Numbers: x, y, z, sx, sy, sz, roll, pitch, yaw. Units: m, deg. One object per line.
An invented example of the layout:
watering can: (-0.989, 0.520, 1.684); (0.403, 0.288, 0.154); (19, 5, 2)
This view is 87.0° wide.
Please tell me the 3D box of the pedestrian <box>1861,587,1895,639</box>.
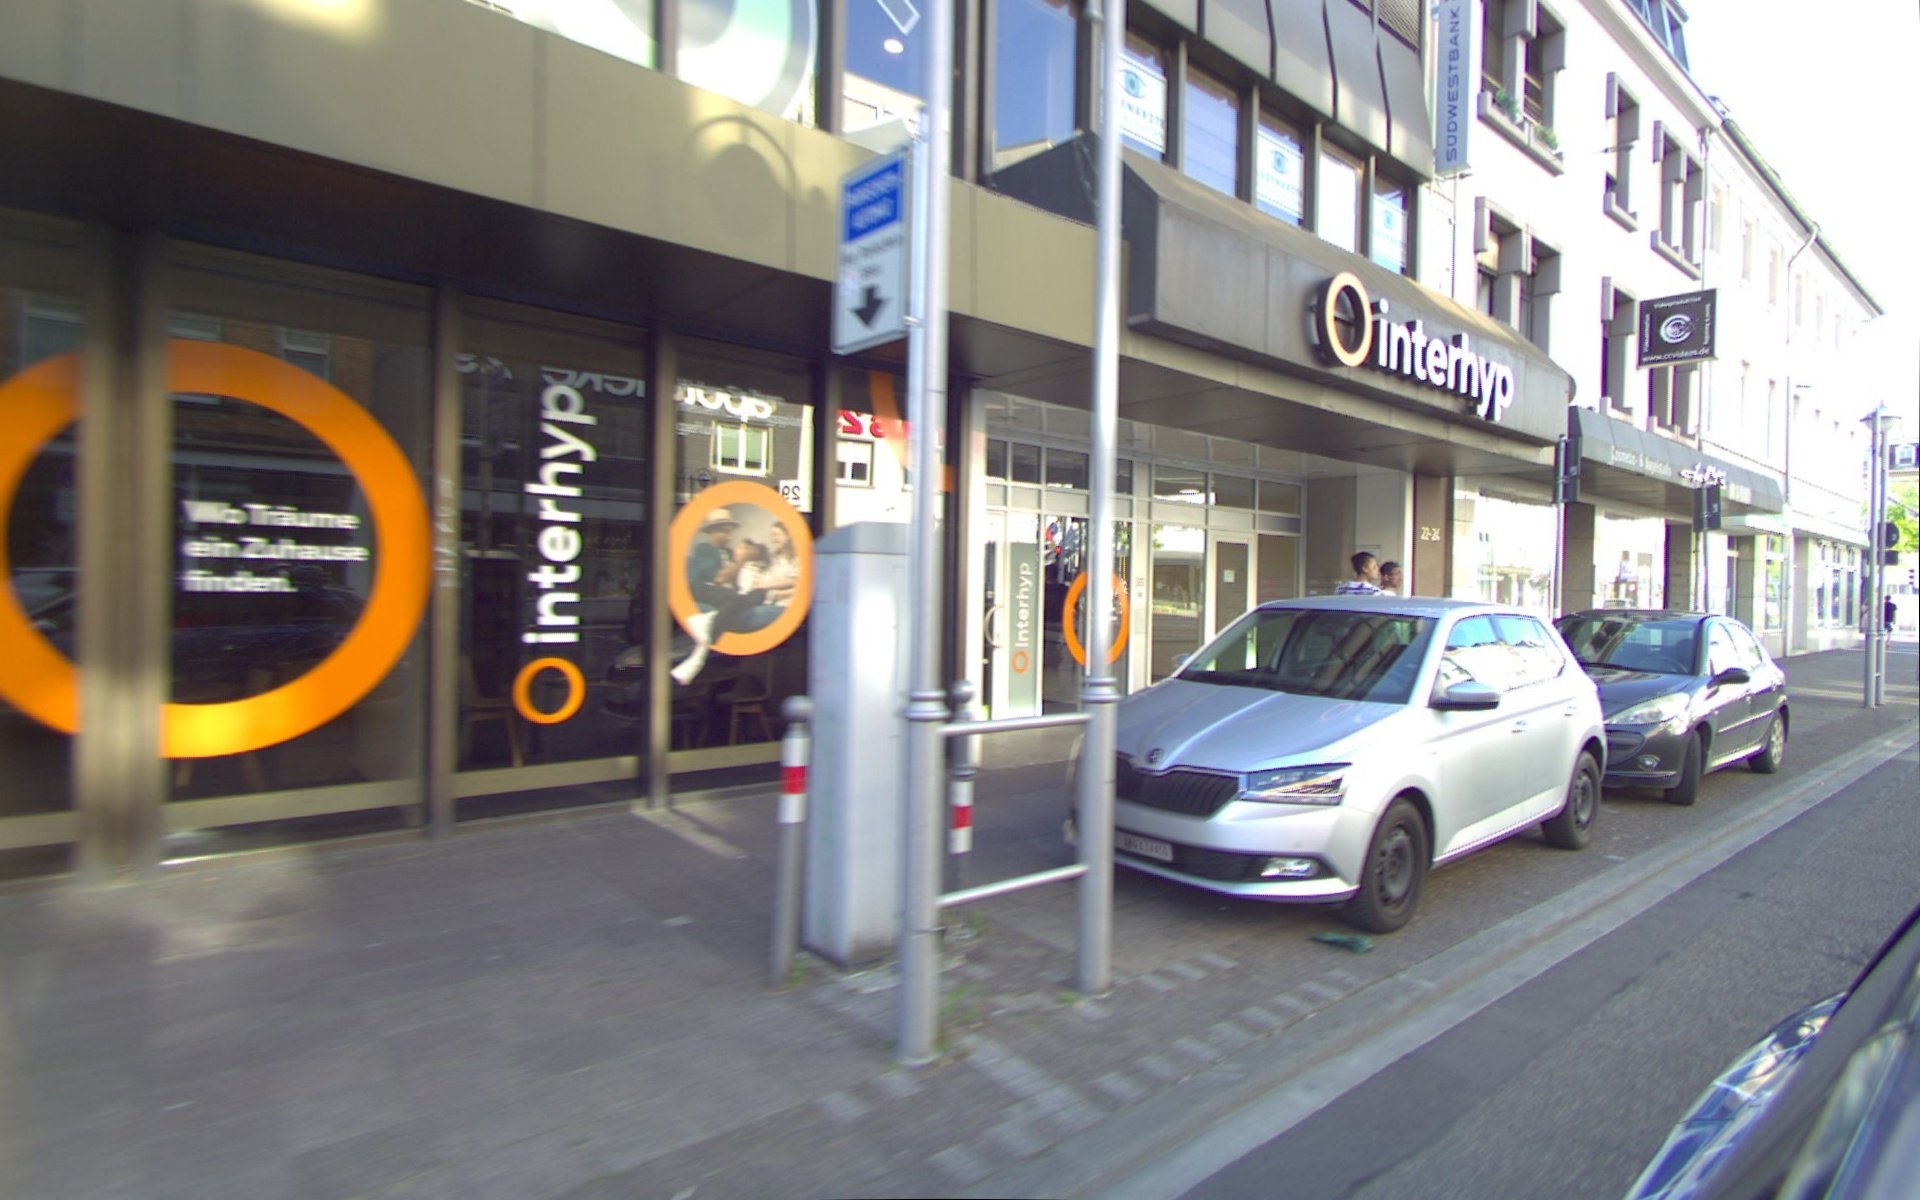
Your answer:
pedestrian: (31.933, 0.449, 35.200); (0.562, 1.781, 0.651); (0, 0, -16)

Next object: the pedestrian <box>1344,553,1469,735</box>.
pedestrian: (4.617, 0.423, 10.466); (1.013, 1.774, 0.781); (1, 1, -39)

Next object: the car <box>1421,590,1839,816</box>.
car: (6.043, 0.705, 8.946); (4.224, 1.480, 1.853); (0, 2, -39)

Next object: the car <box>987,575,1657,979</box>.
car: (2.307, 0.647, 5.807); (4.220, 1.480, 1.749); (0, 1, -41)

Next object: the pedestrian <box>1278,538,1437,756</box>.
pedestrian: (3.659, 0.386, 9.329); (0.981, 1.865, 0.925); (1, 2, -39)

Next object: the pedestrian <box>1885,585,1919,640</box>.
pedestrian: (32.303, 0.419, 34.641); (0.628, 1.865, 0.683); (1, 0, -16)
